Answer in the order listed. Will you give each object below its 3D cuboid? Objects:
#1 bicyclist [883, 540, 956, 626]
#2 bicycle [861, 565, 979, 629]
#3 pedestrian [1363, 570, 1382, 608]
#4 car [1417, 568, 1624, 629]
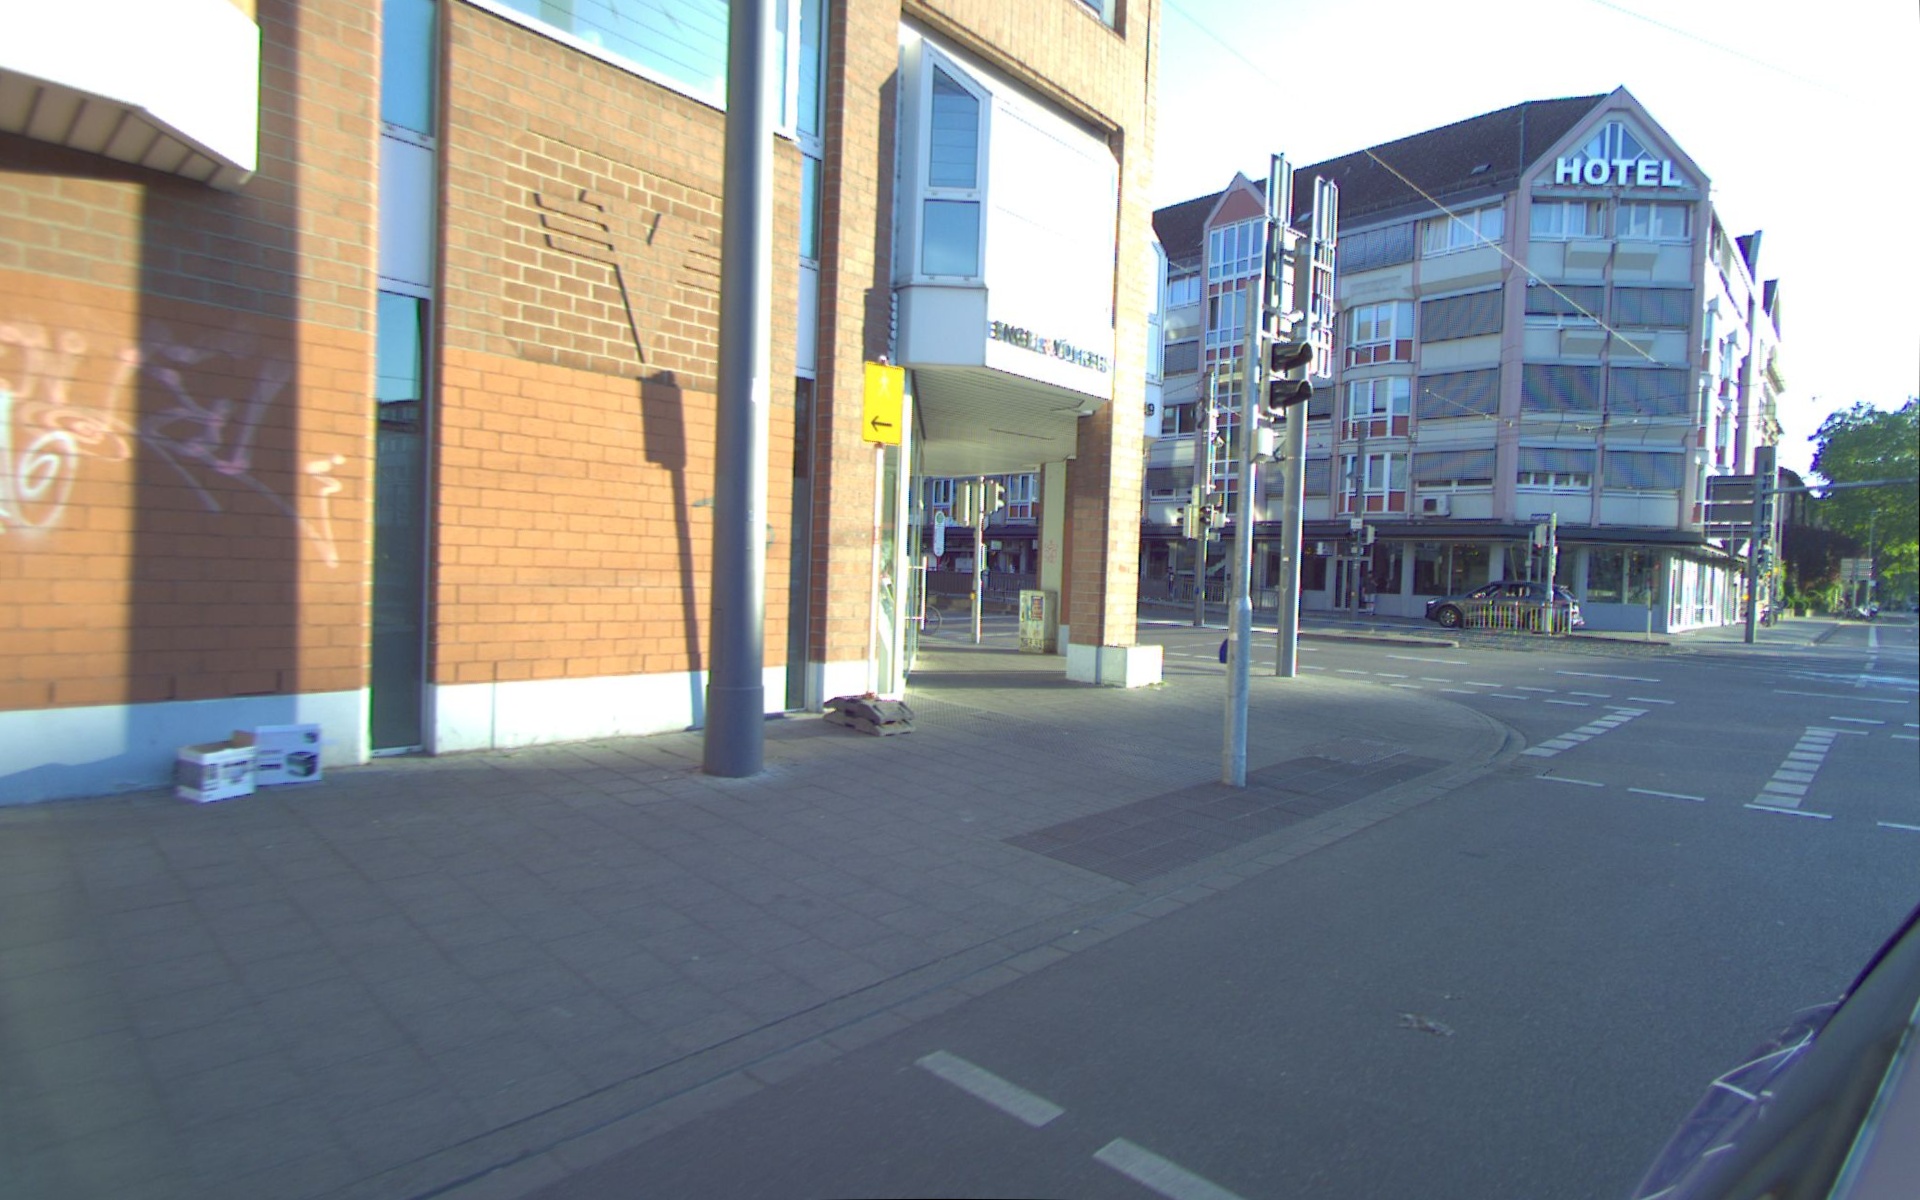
[{"bbox_3d":[-0.940,-0.397,23.295,1.231,1.885,0.998,3,-1,45],"label":"bicyclist"},{"bbox_3d":[-0.953,-0.096,23.264,2.789,1.308,1.001,3,-1,45],"label":"bicycle"},{"bbox_3d":[16.784,-0.435,41.149,0.467,1.511,0.473,2,2,-9],"label":"pedestrian"},{"bbox_3d":[18.122,-0.105,32.955,5.563,1.648,1.999,4,3,45],"label":"car"}]
